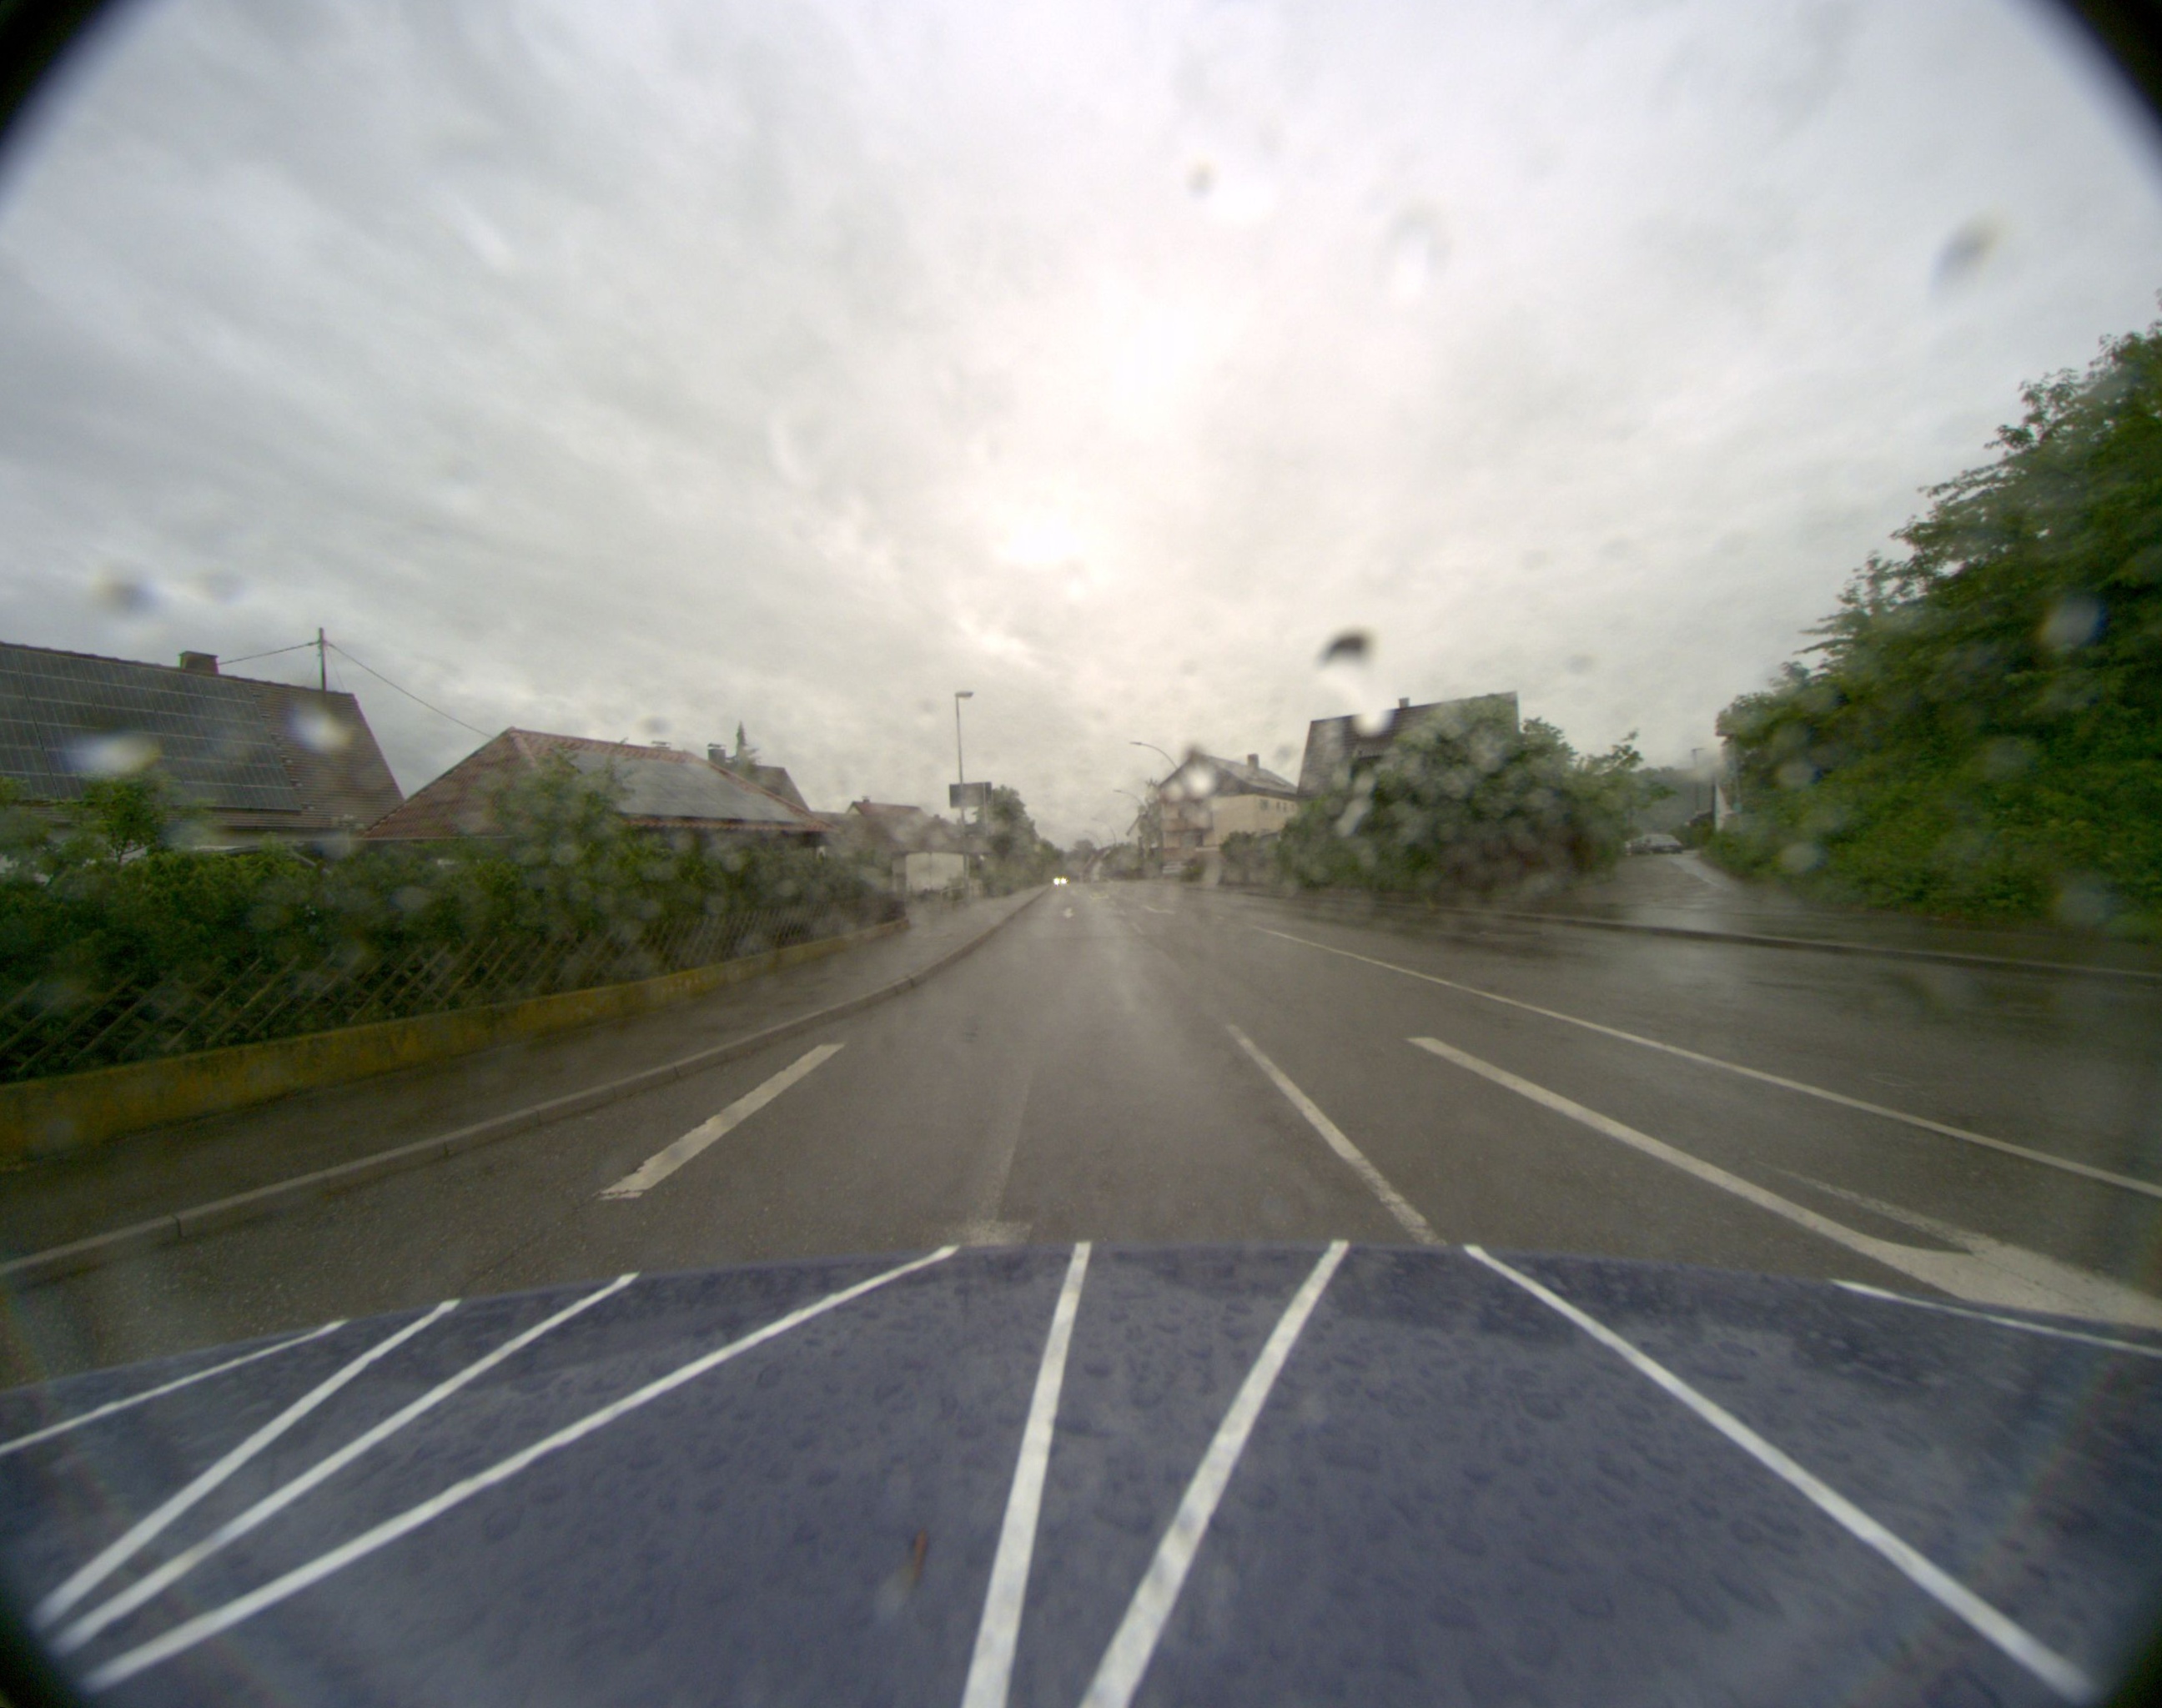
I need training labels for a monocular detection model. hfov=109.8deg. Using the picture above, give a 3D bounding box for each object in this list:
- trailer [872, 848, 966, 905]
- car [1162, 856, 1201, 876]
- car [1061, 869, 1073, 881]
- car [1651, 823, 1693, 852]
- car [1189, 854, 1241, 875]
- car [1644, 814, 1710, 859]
[{"bbox_3d":[-7.765,1.047,36.957,1.645,2.502,4.712,-3,-1,28],"label":"trailer"},{"bbox_3d":[8.913,1.044,67.054,1.864,1.510,4.007,-3,0,32],"label":"car"},{"bbox_3d":[-2.513,3.743,136.974,1.998,2.002,4.000,-3,0,1],"label":"car"},{"bbox_3d":[41.123,-1.168,52.850,1.995,1.848,4.008,-3,0,41],"label":"car"},{"bbox_3d":[10.774,0.828,61.161,3.661,1.510,1.758,-3,0,35],"label":"car"},{"bbox_3d":[22.964,-0.682,29.211,1.706,1.579,3.669,-2,0,42],"label":"car"}]
